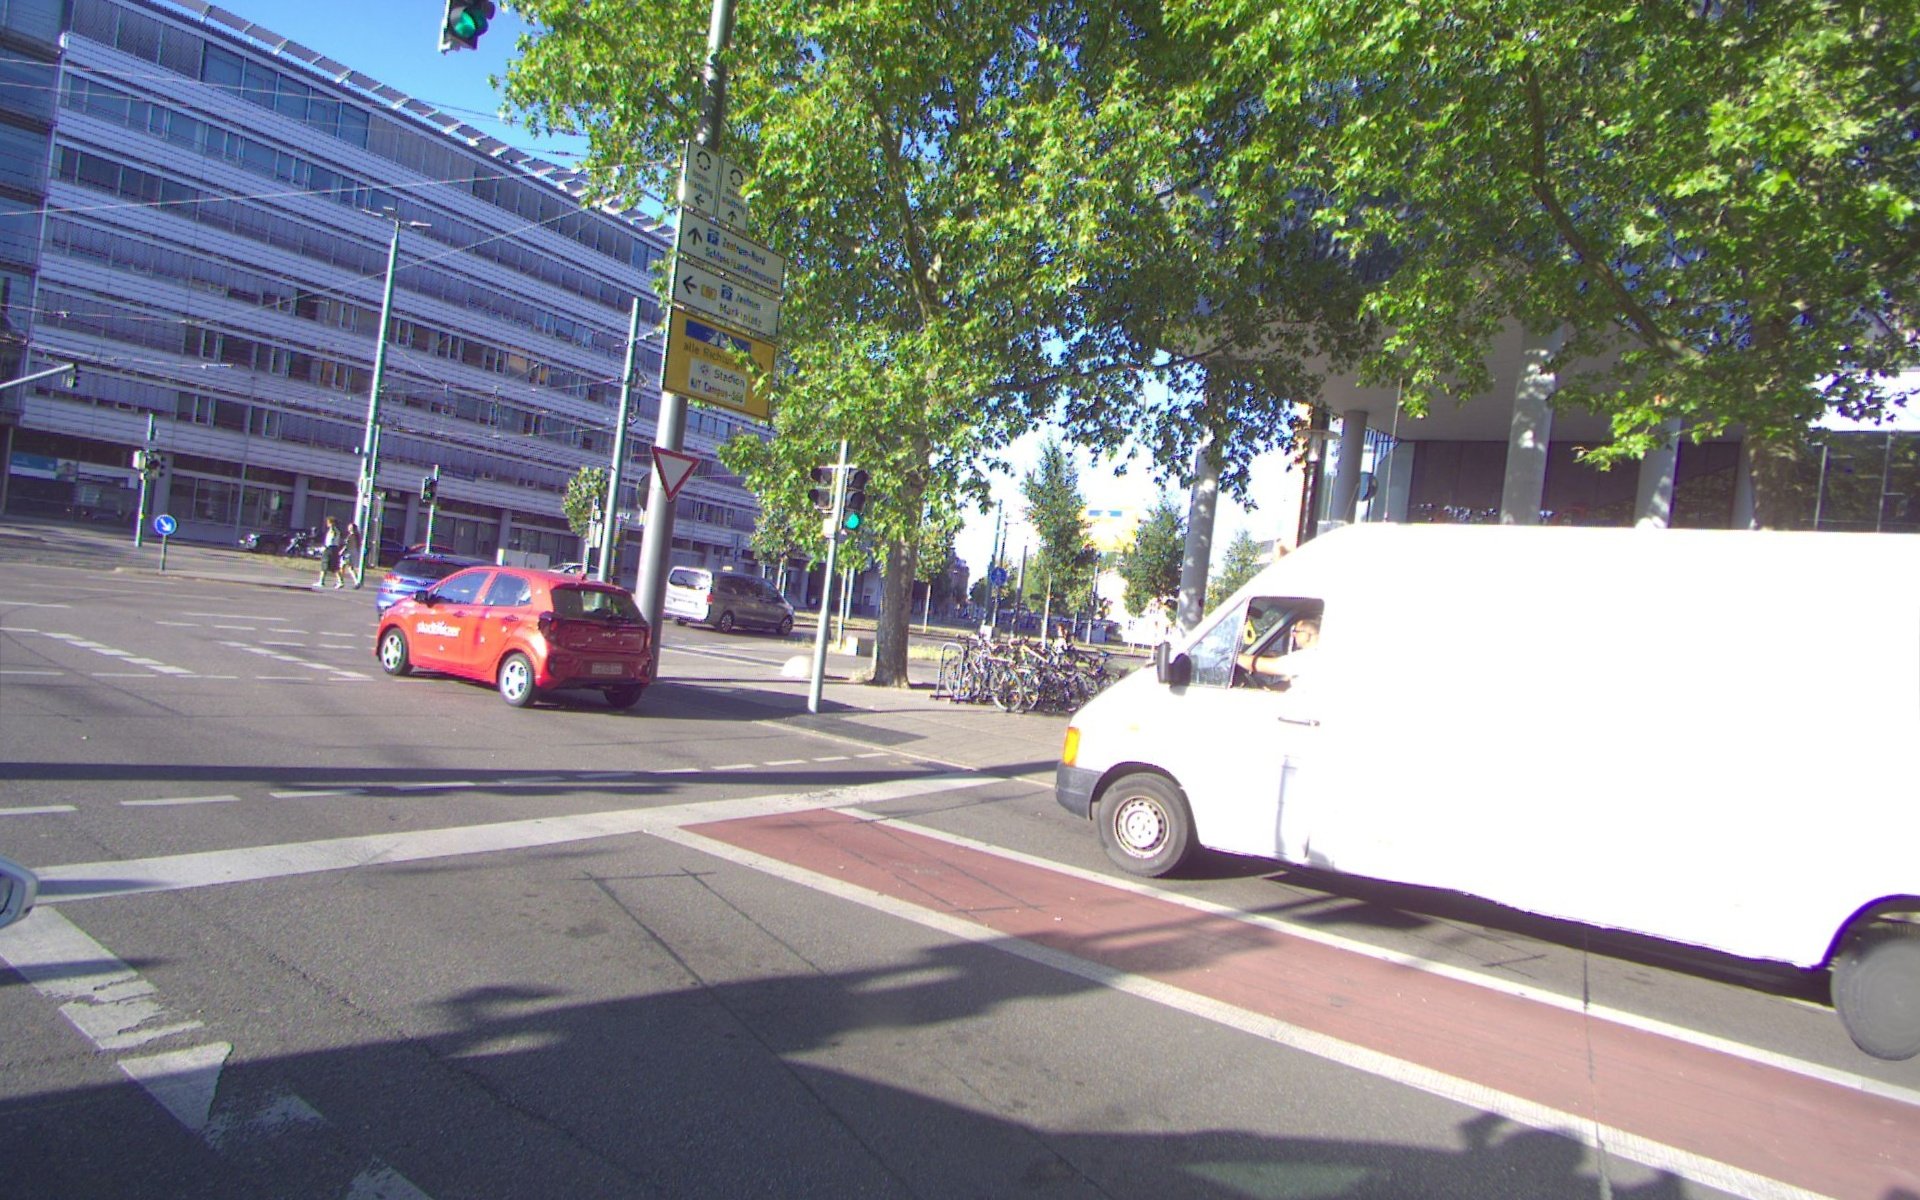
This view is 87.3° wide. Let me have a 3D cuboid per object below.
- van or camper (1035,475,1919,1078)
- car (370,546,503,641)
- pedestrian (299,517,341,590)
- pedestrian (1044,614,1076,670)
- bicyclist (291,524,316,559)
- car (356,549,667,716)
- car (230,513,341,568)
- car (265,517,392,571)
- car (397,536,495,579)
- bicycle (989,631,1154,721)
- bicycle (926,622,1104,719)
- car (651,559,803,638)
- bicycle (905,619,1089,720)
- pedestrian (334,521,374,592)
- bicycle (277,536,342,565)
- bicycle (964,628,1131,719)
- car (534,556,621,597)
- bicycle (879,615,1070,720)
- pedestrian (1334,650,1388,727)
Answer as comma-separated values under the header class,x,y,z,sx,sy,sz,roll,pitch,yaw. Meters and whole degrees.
class,x,y,z,sx,sy,sz,roll,pitch,yaw
van or camper,3.887,0.825,6.273,6.391,2.647,2.002,7,0,32
car,-10.226,-0.147,19.936,1.730,1.476,4.192,8,-1,-21
pedestrian,-16.468,-1.189,25.894,0.734,1.781,0.674,6,1,-32
pedestrian,3.043,1.274,30.520,0.569,1.612,0.595,7,0,32
bicyclist,-30.199,-2.692,46.262,0.604,1.521,0.663,7,1,37
car,-5.392,0.355,12.011,3.536,1.476,1.493,7,-1,30
car,-33.675,-2.934,50.336,1.967,2.037,3.995,6,-2,32
car,-27.914,-2.457,44.577,1.854,1.744,4.256,7,0,34
car,-26.450,-2.158,51.862,1.769,1.569,3.990,6,-2,36
bicycle,2.045,1.398,18.799,2.896,1.250,0.698,6,-4,31
bicycle,0.883,1.168,16.975,2.897,1.252,0.705,6,-1,32
car,-7.265,0.031,31.942,1.971,1.919,4.881,7,-1,25
bicycle,0.554,1.098,16.322,2.896,1.243,0.686,6,-1,31
pedestrian,-16.014,-1.142,26.610,0.734,1.781,0.680,6,1,-31
bicycle,-30.057,-2.274,46.530,0.627,1.035,2.409,7,0,36
bicycle,1.550,1.313,18.243,2.896,1.252,0.705,6,0,31
car,-20.862,-1.251,54.981,1.852,1.614,3.991,6,-2,35
bicycle,0.184,1.035,15.718,2.896,1.252,0.705,6,-1,31
pedestrian,10.730,2.358,26.917,0.800,1.913,0.871,5,1,-16
